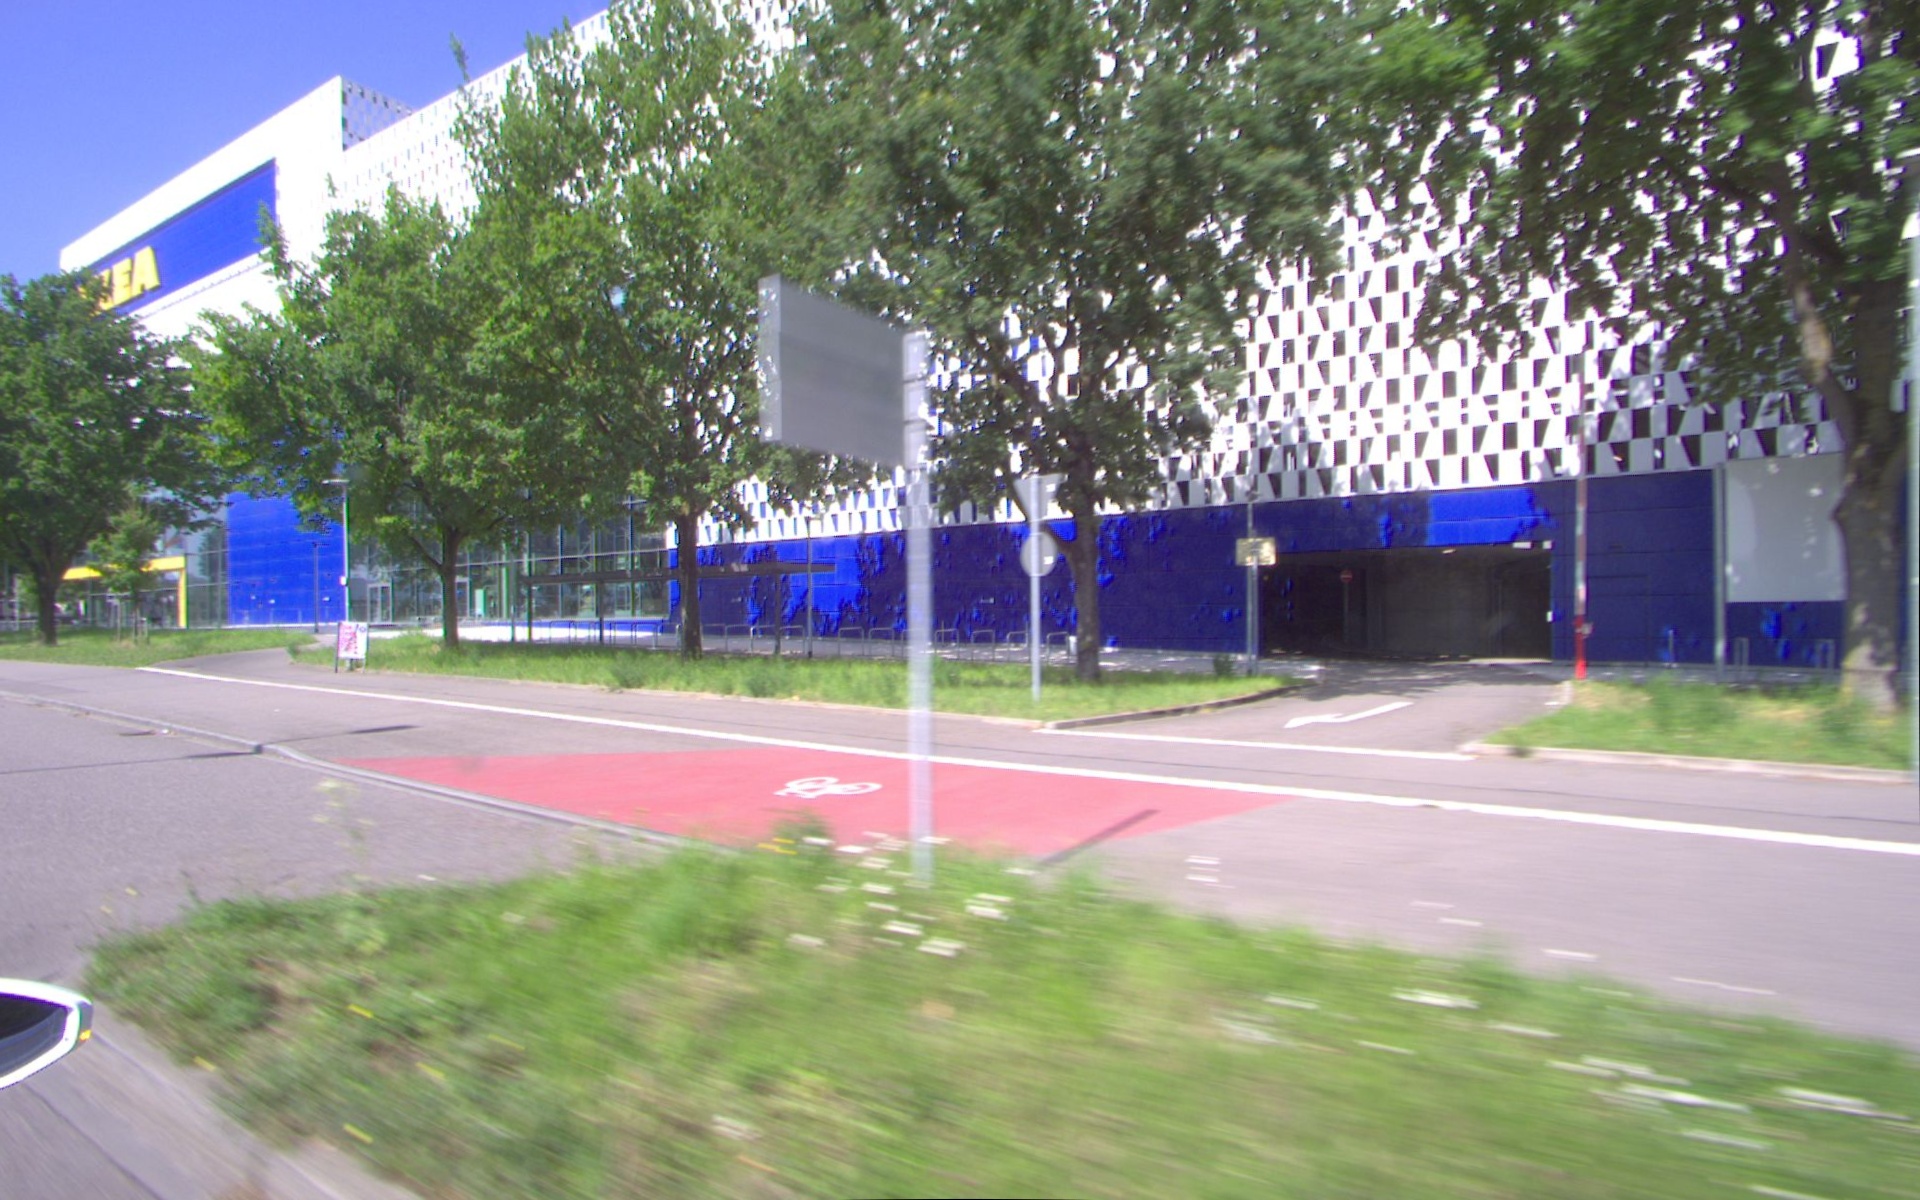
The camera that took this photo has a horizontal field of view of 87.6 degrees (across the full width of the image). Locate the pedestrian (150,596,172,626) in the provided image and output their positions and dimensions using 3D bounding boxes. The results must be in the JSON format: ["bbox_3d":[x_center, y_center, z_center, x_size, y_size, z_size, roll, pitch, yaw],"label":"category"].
[{"bbox_3d":[-43.138,0.600,54.082,0.760,1.634,0.687,1,1,31],"label":"pedestrian"}]
